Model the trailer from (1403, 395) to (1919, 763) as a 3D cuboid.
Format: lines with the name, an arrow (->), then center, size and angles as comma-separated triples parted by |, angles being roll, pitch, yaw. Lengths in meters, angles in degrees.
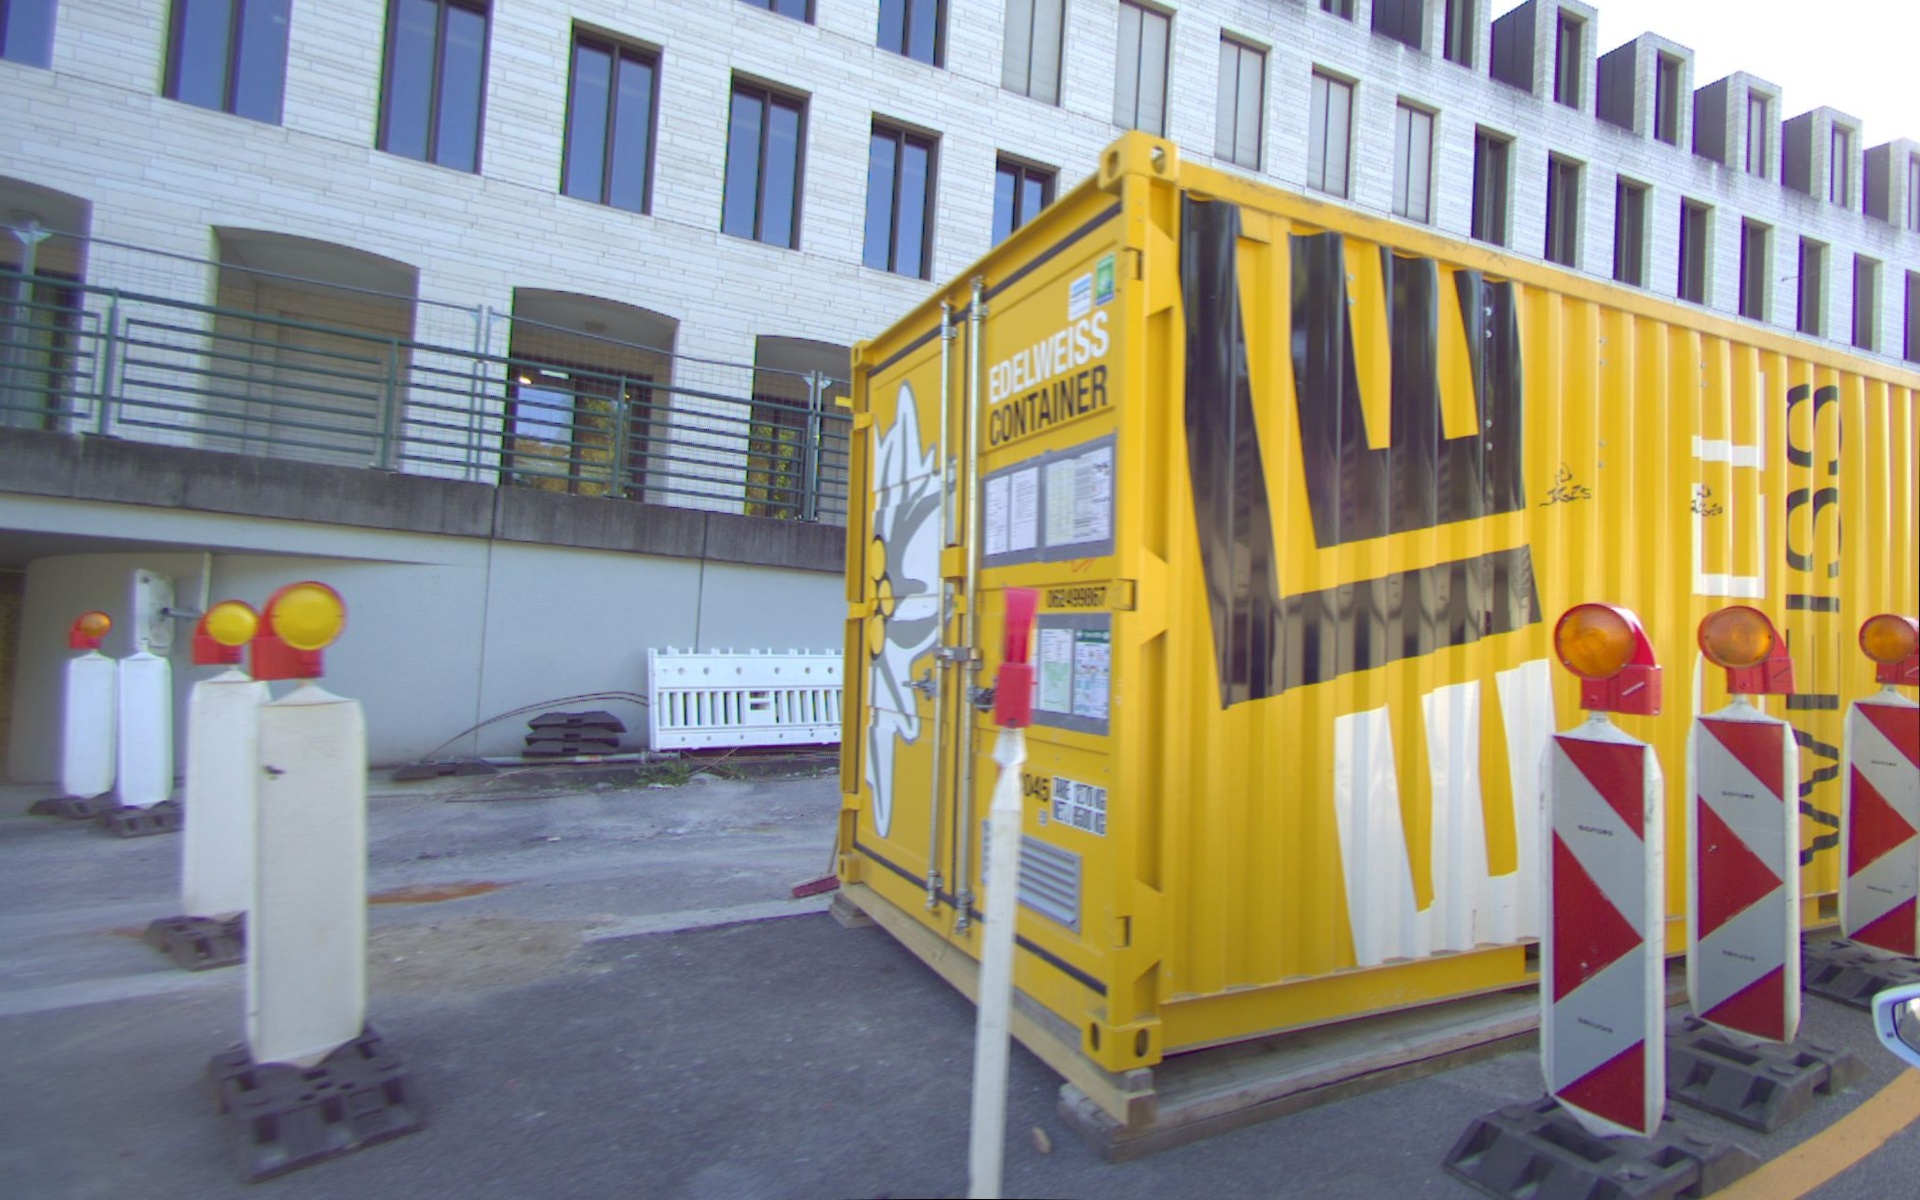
trailer -> 10.057, 0.005, 13.040 | 8.626, 3.715, 2.637 | 2, -5, -24

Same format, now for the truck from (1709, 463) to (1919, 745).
truck -> 14.333, 0.214, 14.741 | 5.730, 3.534, 2.576 | 2, -5, -22
